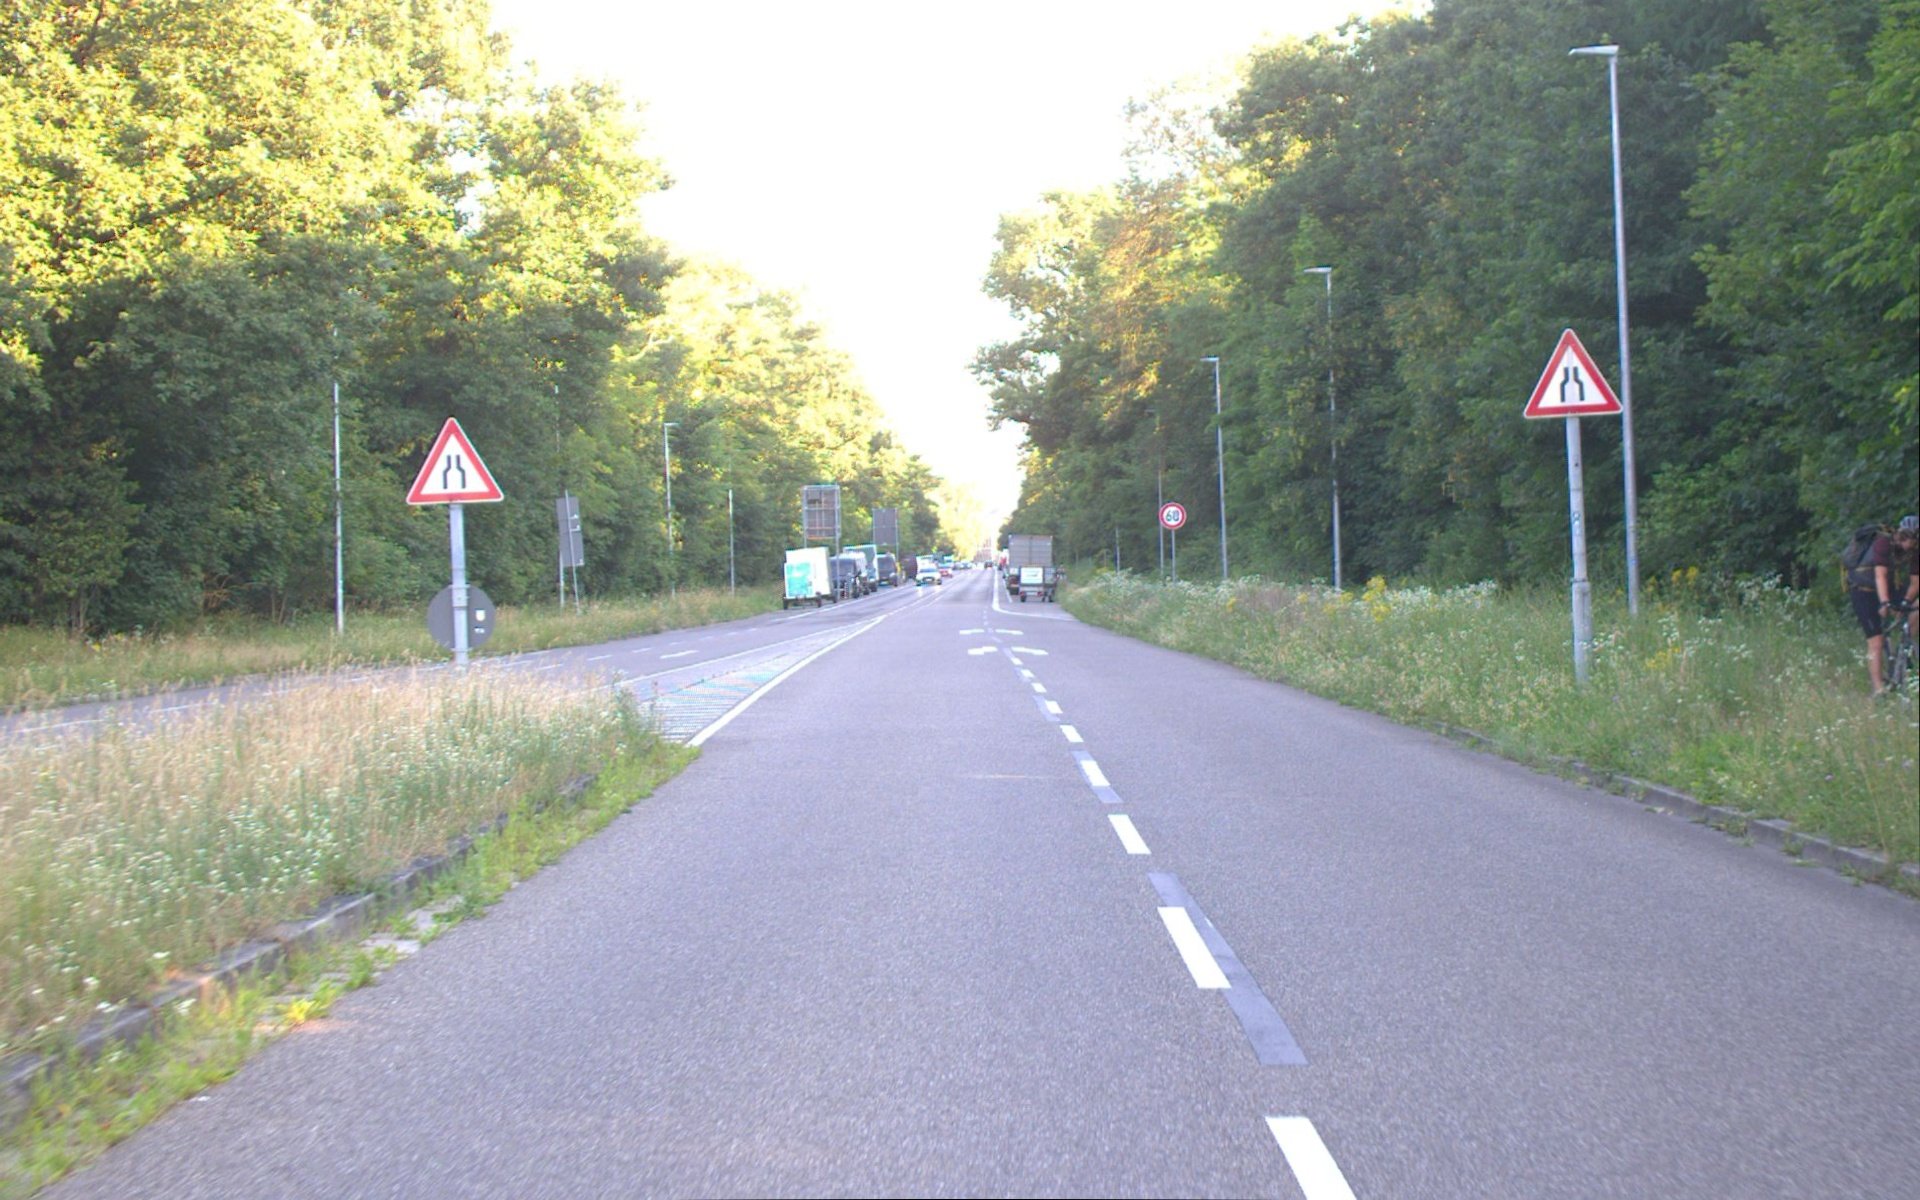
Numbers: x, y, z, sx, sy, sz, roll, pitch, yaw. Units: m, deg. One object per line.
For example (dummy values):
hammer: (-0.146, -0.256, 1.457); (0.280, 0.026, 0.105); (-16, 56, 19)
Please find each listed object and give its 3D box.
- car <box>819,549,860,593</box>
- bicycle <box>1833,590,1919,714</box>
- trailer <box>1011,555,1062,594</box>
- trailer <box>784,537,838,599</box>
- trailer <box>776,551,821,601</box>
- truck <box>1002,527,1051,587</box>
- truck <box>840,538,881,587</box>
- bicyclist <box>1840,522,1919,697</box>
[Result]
car: (-6.901, -1.670, 197.728); (1.993, 2.356, 5.766); (-4, 1, 1)
bicycle: (7.878, 0.421, 28.971); (0.611, 0.992, 1.691); (-2, 0, 1)
trailer: (3.495, -1.160, 156.416); (1.457, 1.656, 3.775); (-2, 1, 14)
trailer: (-7.446, -1.608, 172.382); (2.326, 2.914, 5.627); (-4, 1, 0)
trailer: (-7.354, -1.094, 156.771); (1.817, 2.160, 4.143); (-2, 1, 0)
truck: (3.678, -2.338, 188.771); (2.589, 3.244, 7.220); (0, 0, 2)
truck: (-6.972, -2.633, 240.814); (2.504, 3.317, 6.842); (-2, 1, 0)
bicyclist: (7.864, 0.074, 29.085); (0.603, 1.450, 0.780); (-2, 1, 1)
